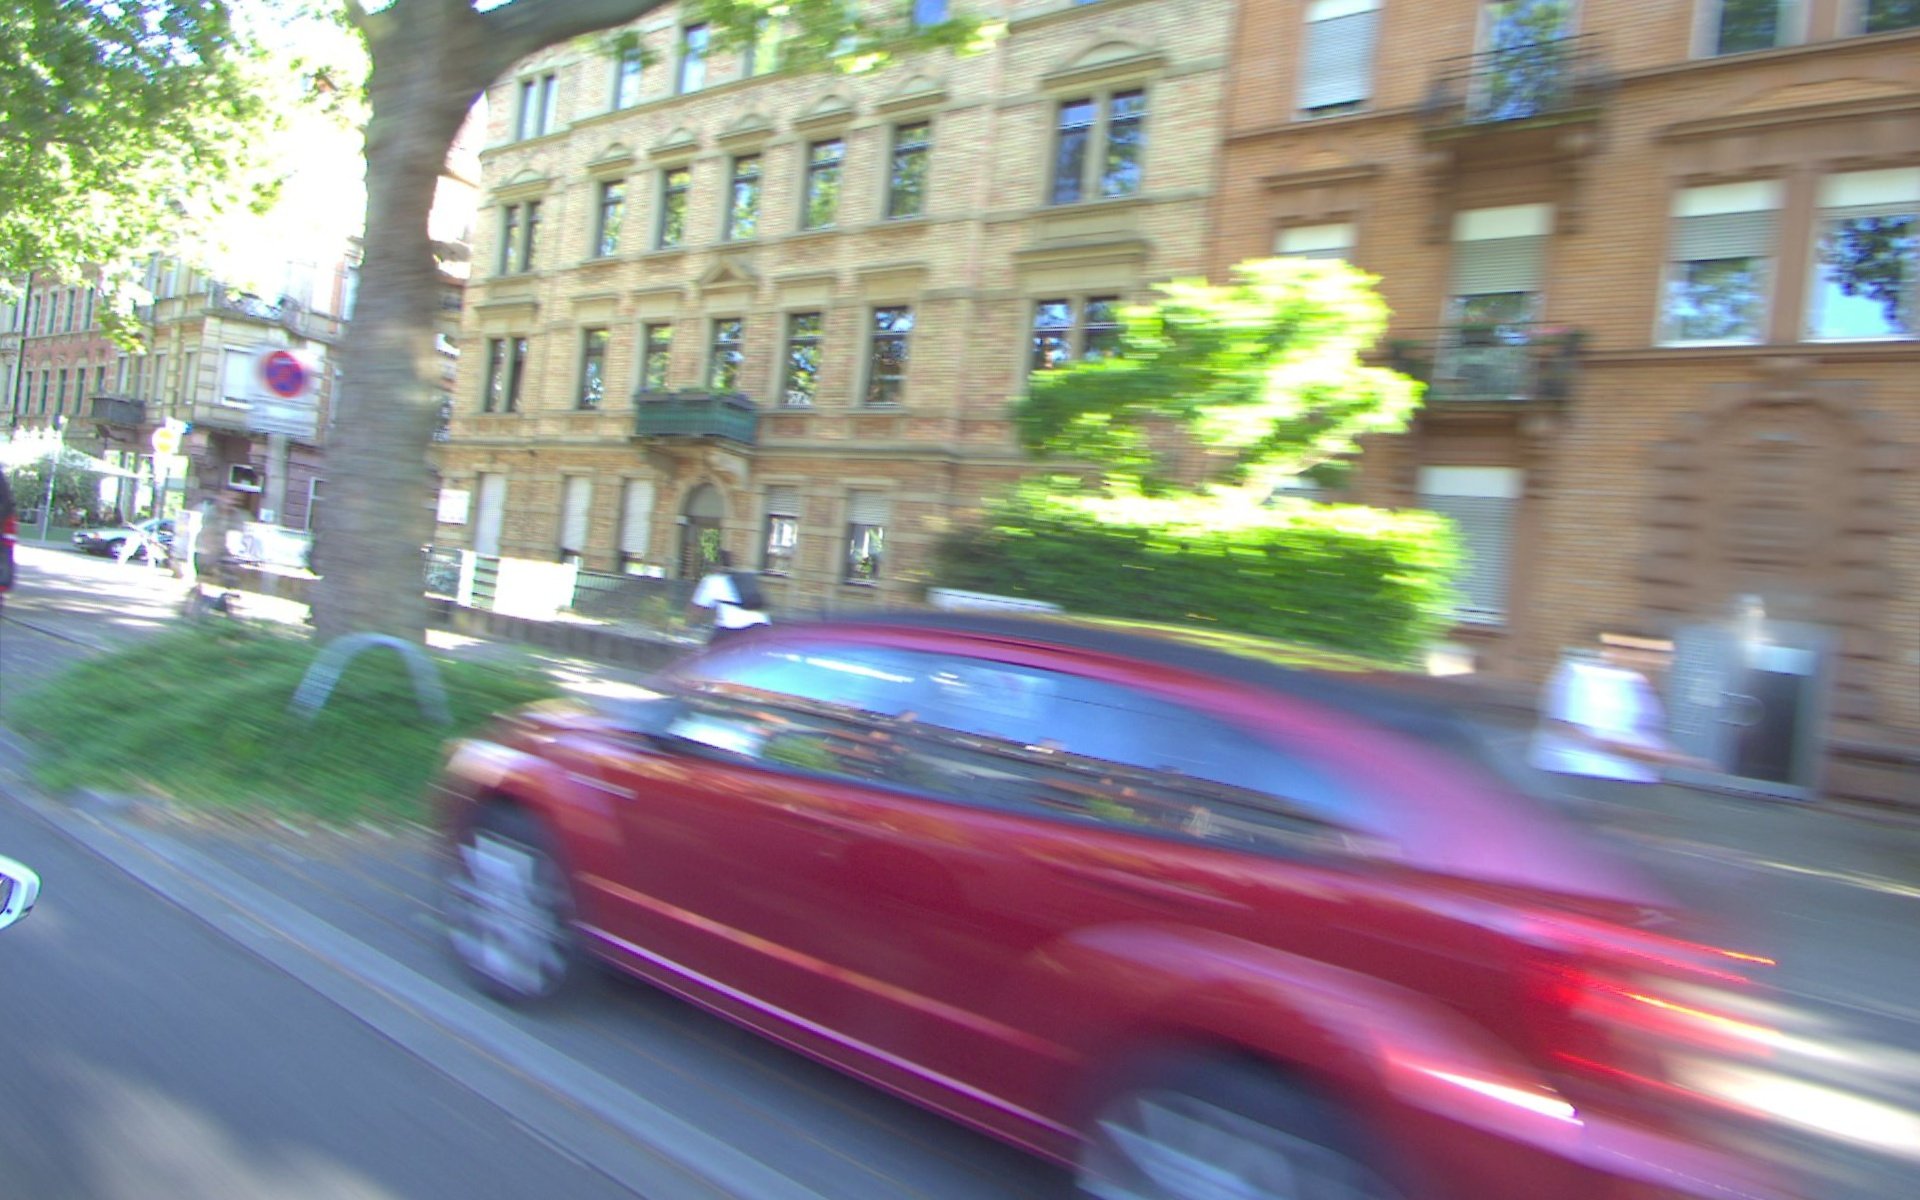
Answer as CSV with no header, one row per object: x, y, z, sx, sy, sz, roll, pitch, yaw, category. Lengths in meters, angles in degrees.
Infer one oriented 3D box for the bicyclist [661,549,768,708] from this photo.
-2.323,0.267,9.530,0.633,1.398,0.543,9,3,31,bicyclist

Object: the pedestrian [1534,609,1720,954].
3.858,1.003,5.883,0.633,1.808,0.689,9,3,31,pedestrian

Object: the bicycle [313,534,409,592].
-14.226,-0.869,23.937,0.469,1.168,1.862,7,0,36,bicycle

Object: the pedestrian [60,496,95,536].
-31.782,-3.024,36.219,0.652,1.316,0.713,7,1,32,pedestrian

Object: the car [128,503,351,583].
-19.980,-1.535,28.141,1.889,1.567,4.612,7,0,27,car

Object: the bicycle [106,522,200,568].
-20.012,-1.350,24.986,0.591,0.928,1.695,7,0,21,bicycle

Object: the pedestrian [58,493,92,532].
-32.375,-3.197,36.808,0.703,1.316,0.661,7,1,32,pedestrian

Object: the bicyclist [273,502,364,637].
-7.585,-0.354,11.898,0.633,1.506,0.570,7,2,32,bicyclist

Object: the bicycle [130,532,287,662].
-8.195,-0.059,10.934,2.189,1.193,0.561,6,2,32,bicycle

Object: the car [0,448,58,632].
-13.180,-0.987,12.095,5.114,2.040,1.995,8,2,31,car

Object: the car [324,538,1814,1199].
-0.148,0.780,3.519,4.427,1.569,1.715,6,1,32,car

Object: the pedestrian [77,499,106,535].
-29.905,-2.857,34.644,0.517,1.116,0.556,7,1,32,pedestrian

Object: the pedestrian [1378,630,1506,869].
3.620,1.087,7.555,0.607,1.650,0.530,9,4,33,pedestrian

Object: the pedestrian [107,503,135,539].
-29.305,-2.769,35.137,0.517,1.152,0.556,7,1,32,pedestrian

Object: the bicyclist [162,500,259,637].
-8.146,-0.339,10.935,0.633,1.398,0.570,7,2,32,bicyclist

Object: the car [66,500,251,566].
-24.378,-2.011,30.748,1.713,1.382,3.993,9,1,29,car

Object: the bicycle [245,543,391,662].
-7.635,0.009,11.927,1.988,1.192,0.561,6,0,32,bicycle

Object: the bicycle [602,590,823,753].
-2.389,0.635,9.555,2.189,1.193,0.561,8,2,31,bicycle
